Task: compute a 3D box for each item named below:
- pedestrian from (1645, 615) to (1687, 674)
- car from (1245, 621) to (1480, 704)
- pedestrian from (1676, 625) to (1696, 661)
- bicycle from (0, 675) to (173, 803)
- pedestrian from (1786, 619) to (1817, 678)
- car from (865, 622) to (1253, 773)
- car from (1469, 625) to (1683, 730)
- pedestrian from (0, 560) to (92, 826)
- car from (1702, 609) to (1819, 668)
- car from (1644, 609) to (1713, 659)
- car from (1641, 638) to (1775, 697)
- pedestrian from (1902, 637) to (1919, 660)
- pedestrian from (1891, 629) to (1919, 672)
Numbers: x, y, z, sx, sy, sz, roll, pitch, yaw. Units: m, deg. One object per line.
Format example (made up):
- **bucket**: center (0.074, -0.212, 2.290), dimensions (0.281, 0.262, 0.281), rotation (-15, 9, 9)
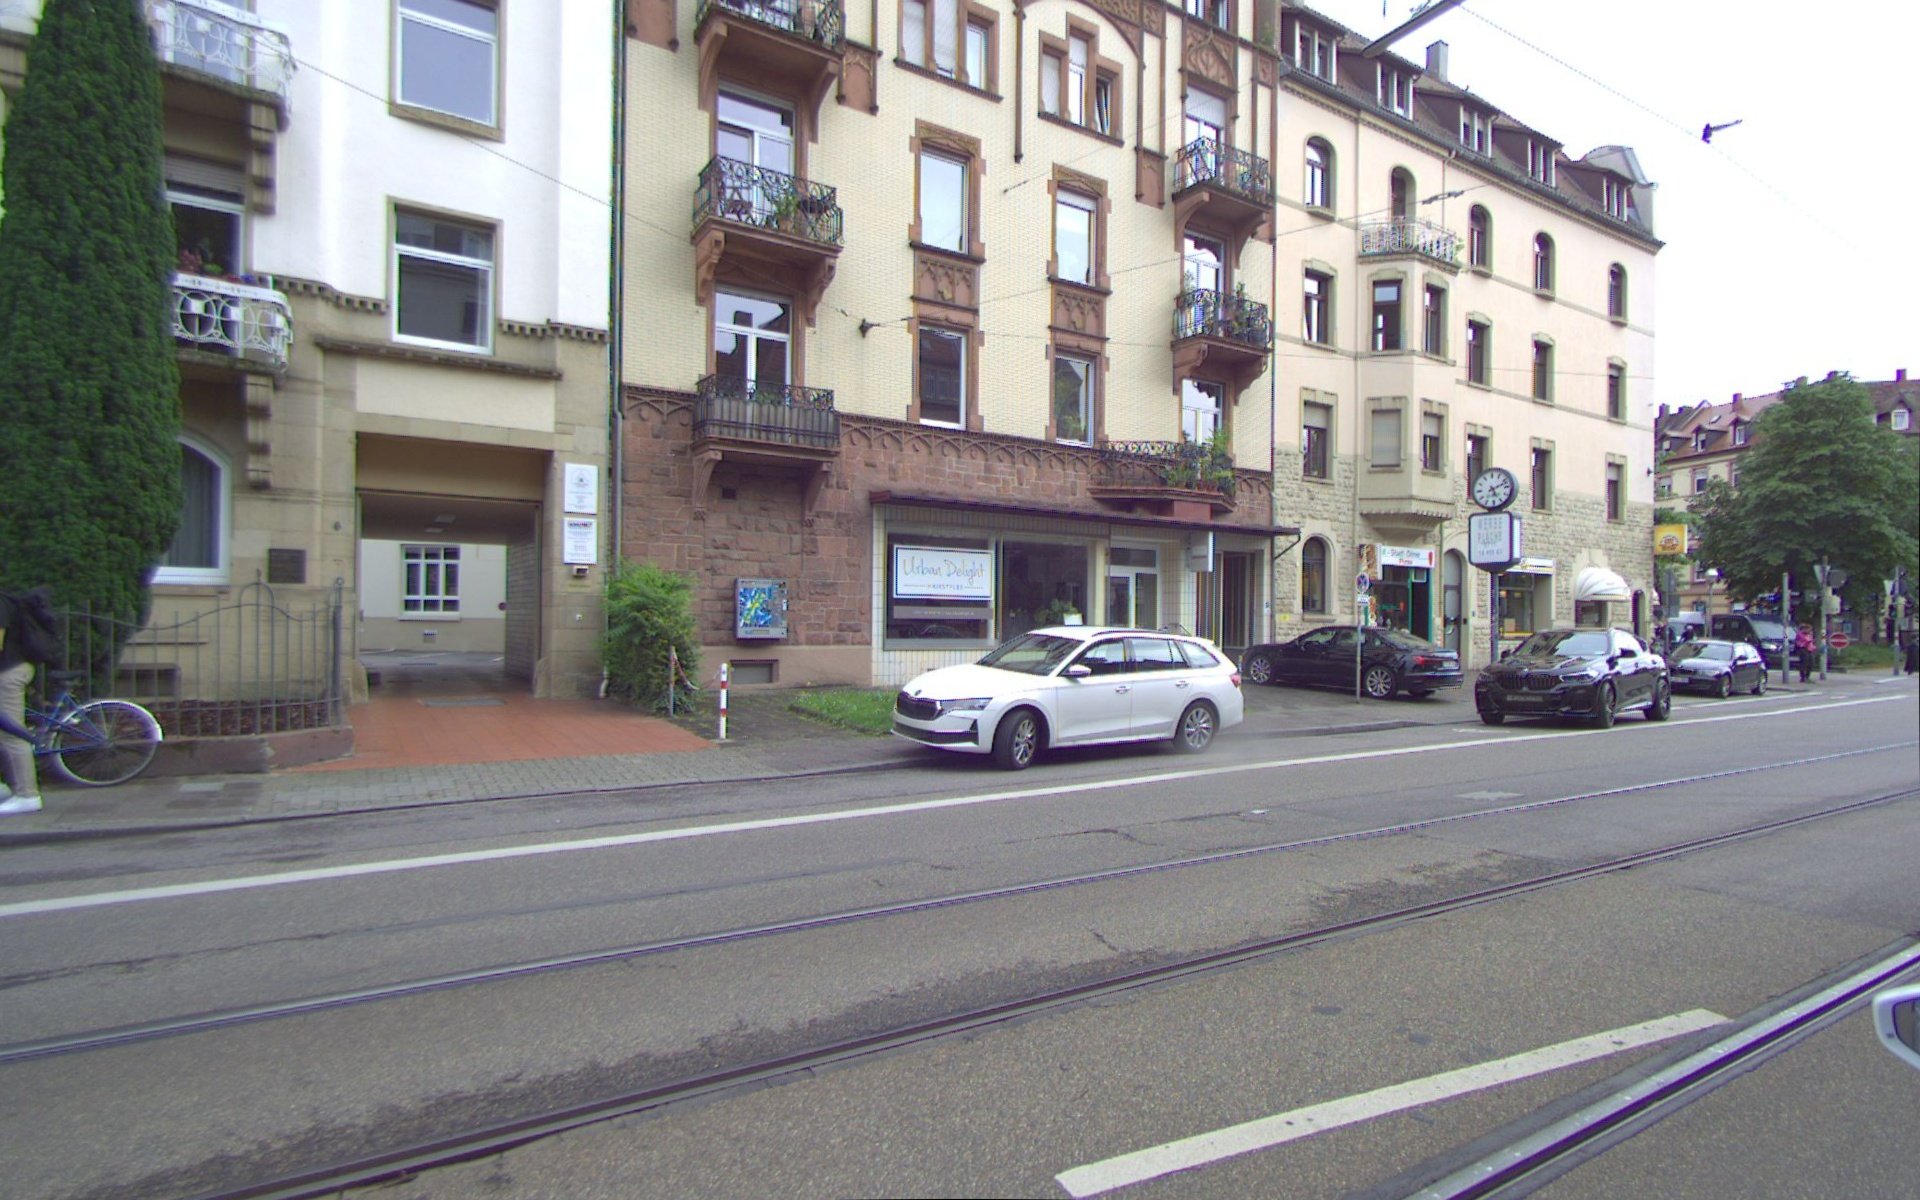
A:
- **pedestrian**: center (24.994, 1.569, 35.559), dimensions (0.826, 2.040, 0.968), rotation (1, -2, -32)
- **car**: center (8.606, 1.267, 21.836), dimensions (1.863, 1.388, 4.394), rotation (1, 1, -36)
- **pedestrian**: center (36.260, 2.135, 50.157), dimensions (0.686, 1.738, 0.552), rotation (0, -1, 18)
- **bicycle**: center (-7.275, 1.102, 8.034), dimensions (1.499, 0.950, 0.330), rotation (1, -1, -33)
- **pedestrian**: center (26.923, 1.540, 32.150), dimensions (0.603, 1.867, 0.619), rotation (1, -1, -34)
- **car**: center (1.290, 1.033, 12.008), dimensions (4.560, 1.504, 1.737), rotation (1, -2, -33)
- **car**: center (11.119, 1.332, 17.991), dimensions (4.849, 1.632, 1.867), rotation (2, -4, -41)
- **pedestrian**: center (-6.954, 0.657, 7.290), dimensions (0.873, 1.868, 0.664), rotation (1, -2, -33)
- **car**: center (35.595, 1.665, 44.854), dimensions (2.142, 2.449, 5.383), rotation (0, -1, 16)
- **car**: center (39.067, 1.822, 54.770), dimensions (2.145, 2.560, 5.375), rotation (0, -1, 26)
- **car**: center (20.049, 1.750, 26.878), dimensions (4.088, 1.380, 1.638), rotation (2, 1, -35)
- **pedestrian**: center (49.100, 2.482, 51.803), dimensions (0.579, 1.184, 0.843), rotation (0, -1, 29)
- **pedestrian**: center (37.484, 1.998, 39.750), dimensions (0.584, 1.685, 0.832), rotation (1, -1, -30)
